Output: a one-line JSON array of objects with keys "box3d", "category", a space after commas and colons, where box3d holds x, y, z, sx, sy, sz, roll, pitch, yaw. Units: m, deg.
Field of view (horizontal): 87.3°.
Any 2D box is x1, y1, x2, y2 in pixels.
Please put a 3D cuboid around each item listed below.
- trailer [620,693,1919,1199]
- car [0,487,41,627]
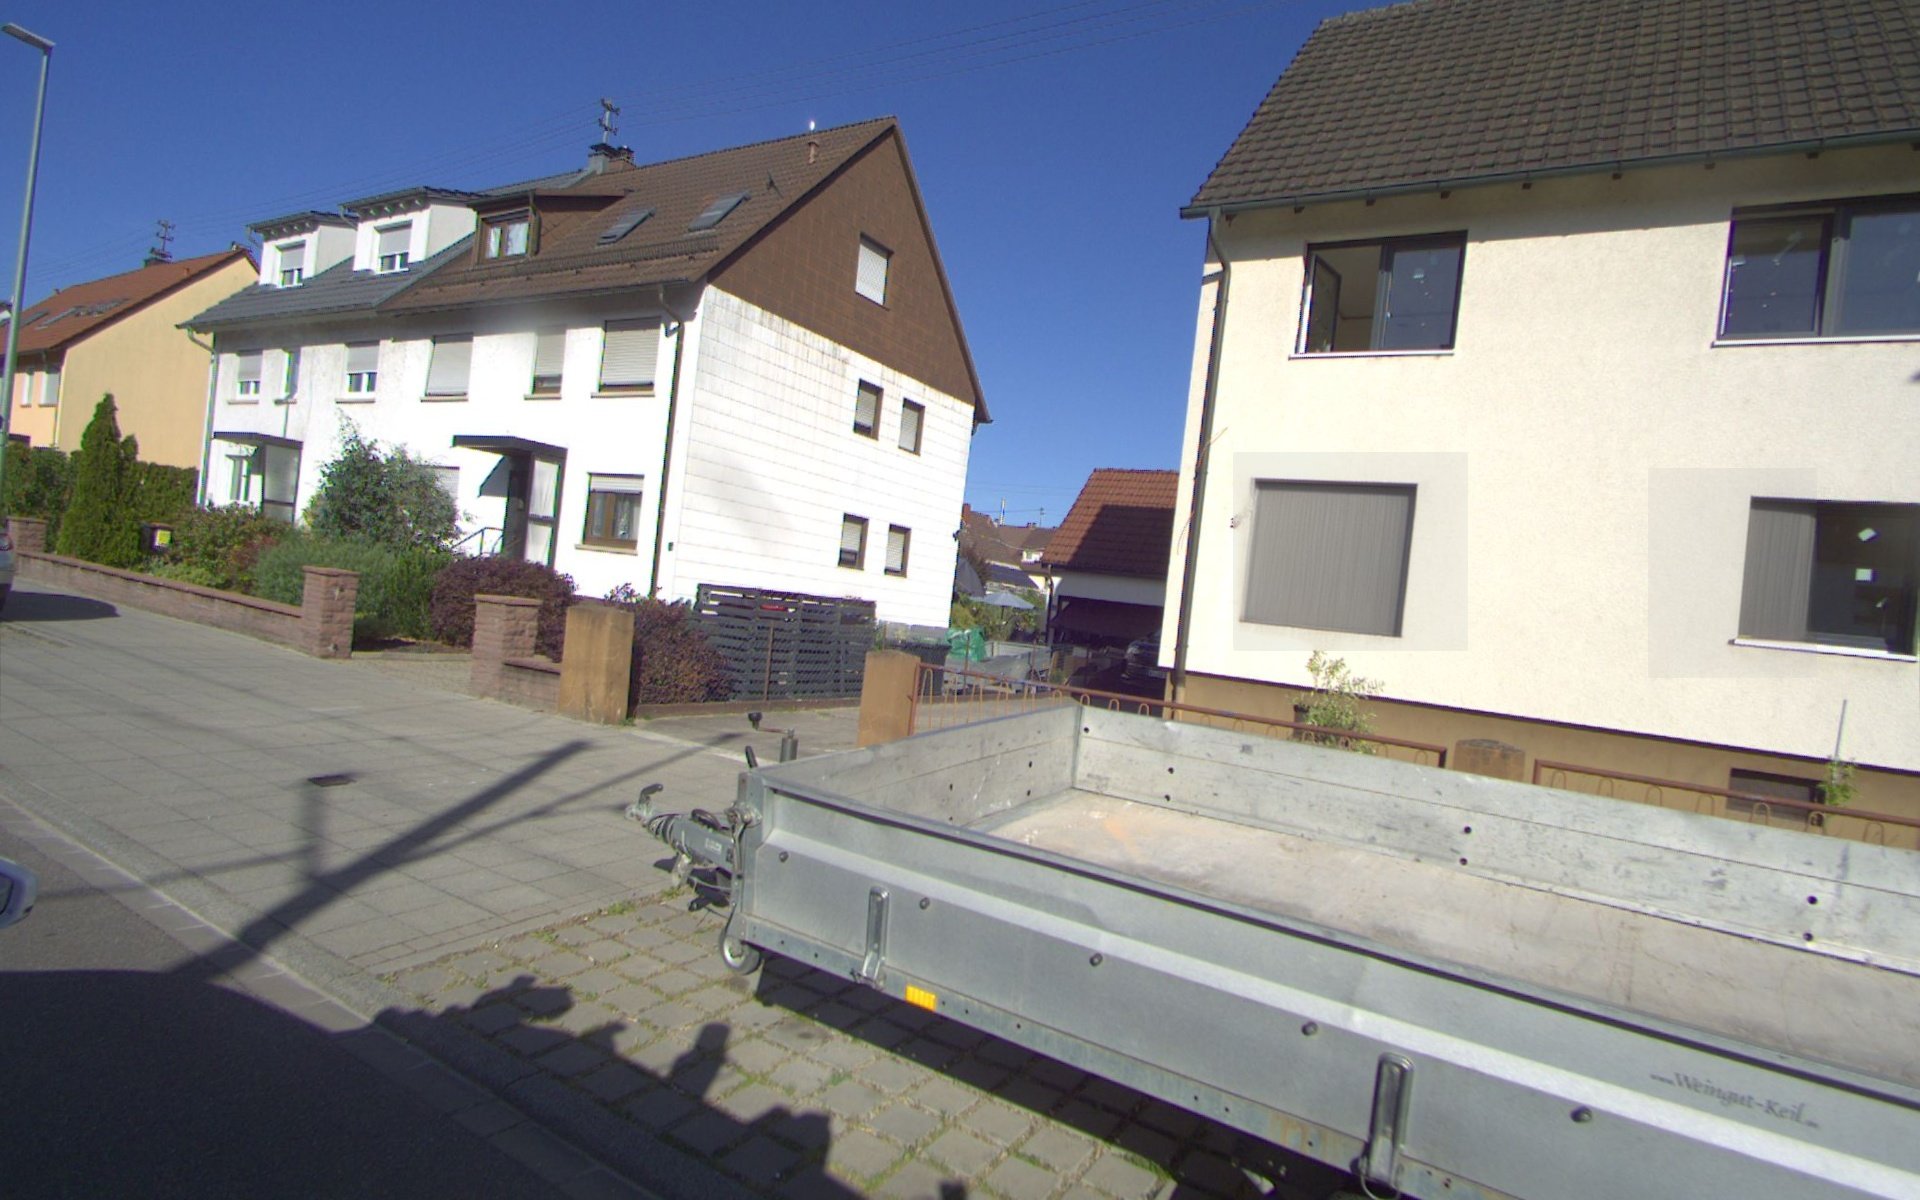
[{"box3d": [1.562, 1.120, 2.429, 4.298, 1.108, 2.206, 6, 1, 31], "category": "trailer"}, {"box3d": [-12.268, -0.689, 11.141, 4.383, 1.460, 1.788, 7, 1, 30], "category": "car"}]
